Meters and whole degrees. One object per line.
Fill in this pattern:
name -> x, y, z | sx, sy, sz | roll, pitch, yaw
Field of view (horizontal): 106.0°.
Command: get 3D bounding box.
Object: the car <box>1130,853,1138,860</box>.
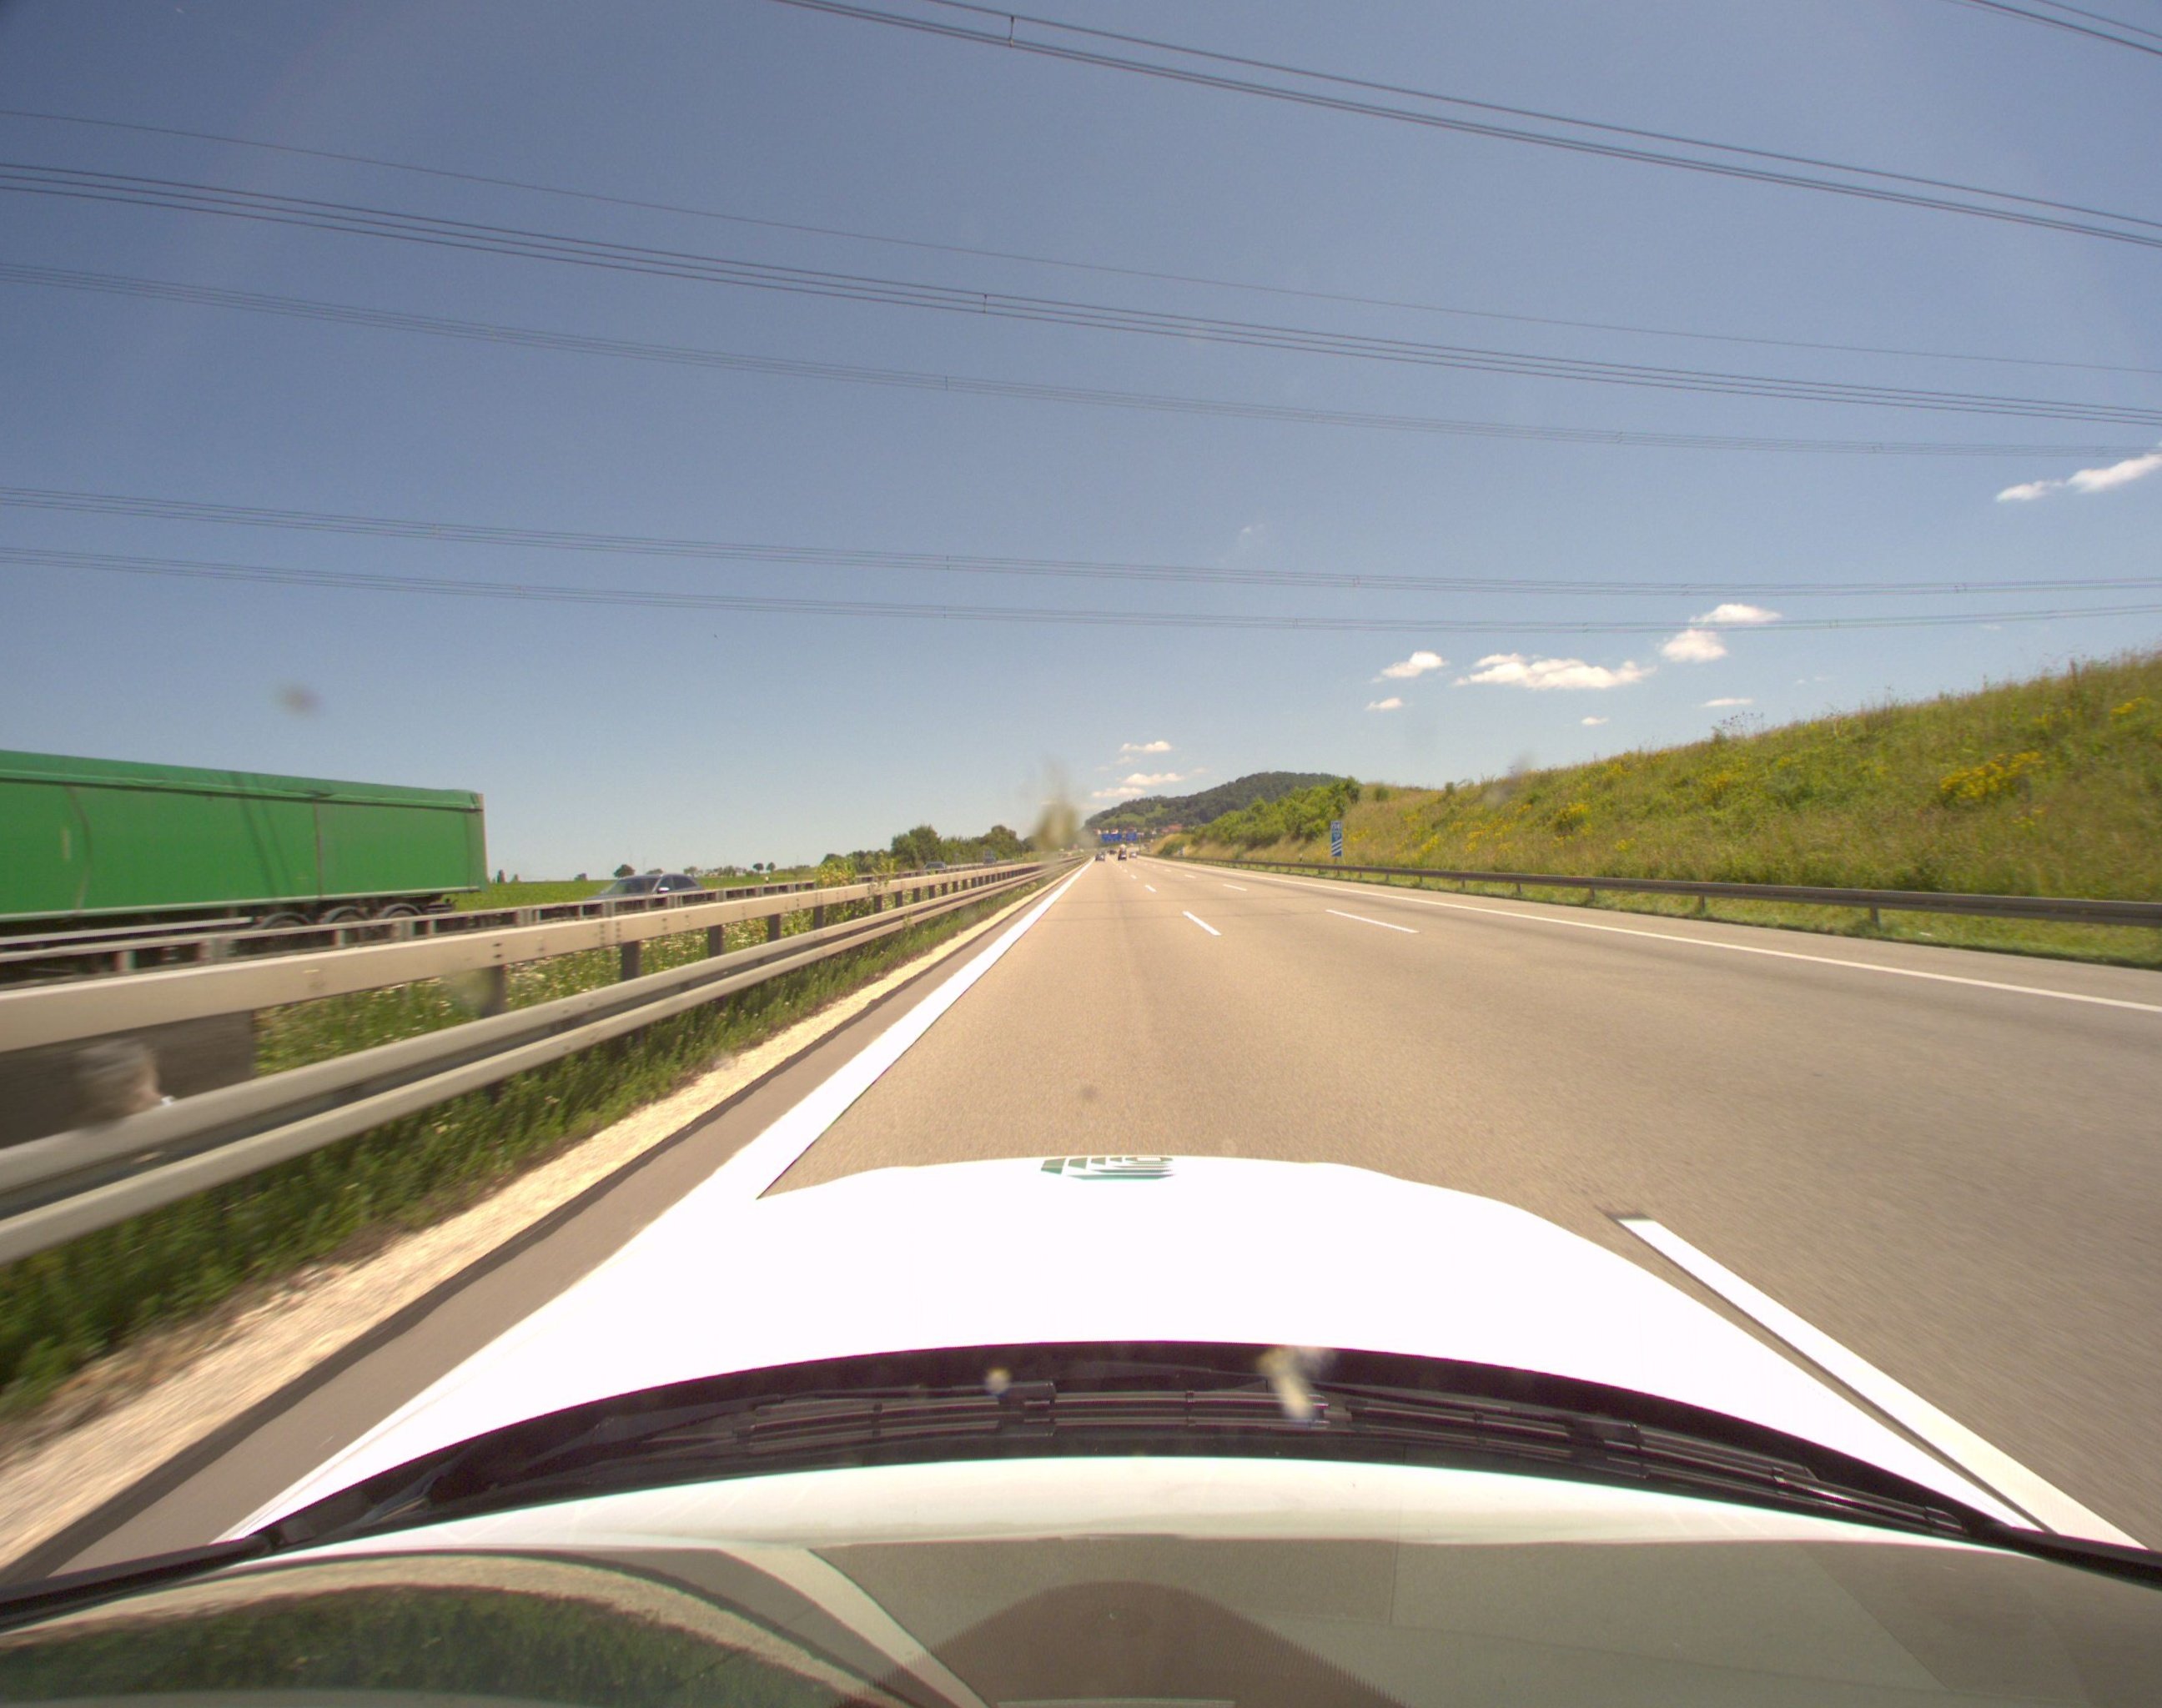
car -> 13.380, 0.633, 205.130 | 1.986, 1.818, 4.002 | -3, 0, 2

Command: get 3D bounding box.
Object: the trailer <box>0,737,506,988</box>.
trailer -> -16.761, 0.159, 15.386 | 2.744, 3.594, 12.537 | 0, -1, 1

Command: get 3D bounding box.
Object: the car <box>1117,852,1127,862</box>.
car -> 7.881, 0.581, 156.493 | 1.986, 2.014, 4.002 | 0, -1, 2

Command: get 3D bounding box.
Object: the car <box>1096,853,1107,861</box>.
car -> 3.695, 0.579, 145.165 | 1.986, 1.389, 4.002 | 0, -1, 2

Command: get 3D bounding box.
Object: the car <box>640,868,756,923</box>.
car -> -12.072, 1.259, 25.975 | 1.628, 1.465, 4.002 | -3, 0, 2

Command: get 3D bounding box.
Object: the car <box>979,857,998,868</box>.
car -> -12.603, 1.132, 111.393 | 1.940, 1.543, 4.287 | 0, -1, 2
